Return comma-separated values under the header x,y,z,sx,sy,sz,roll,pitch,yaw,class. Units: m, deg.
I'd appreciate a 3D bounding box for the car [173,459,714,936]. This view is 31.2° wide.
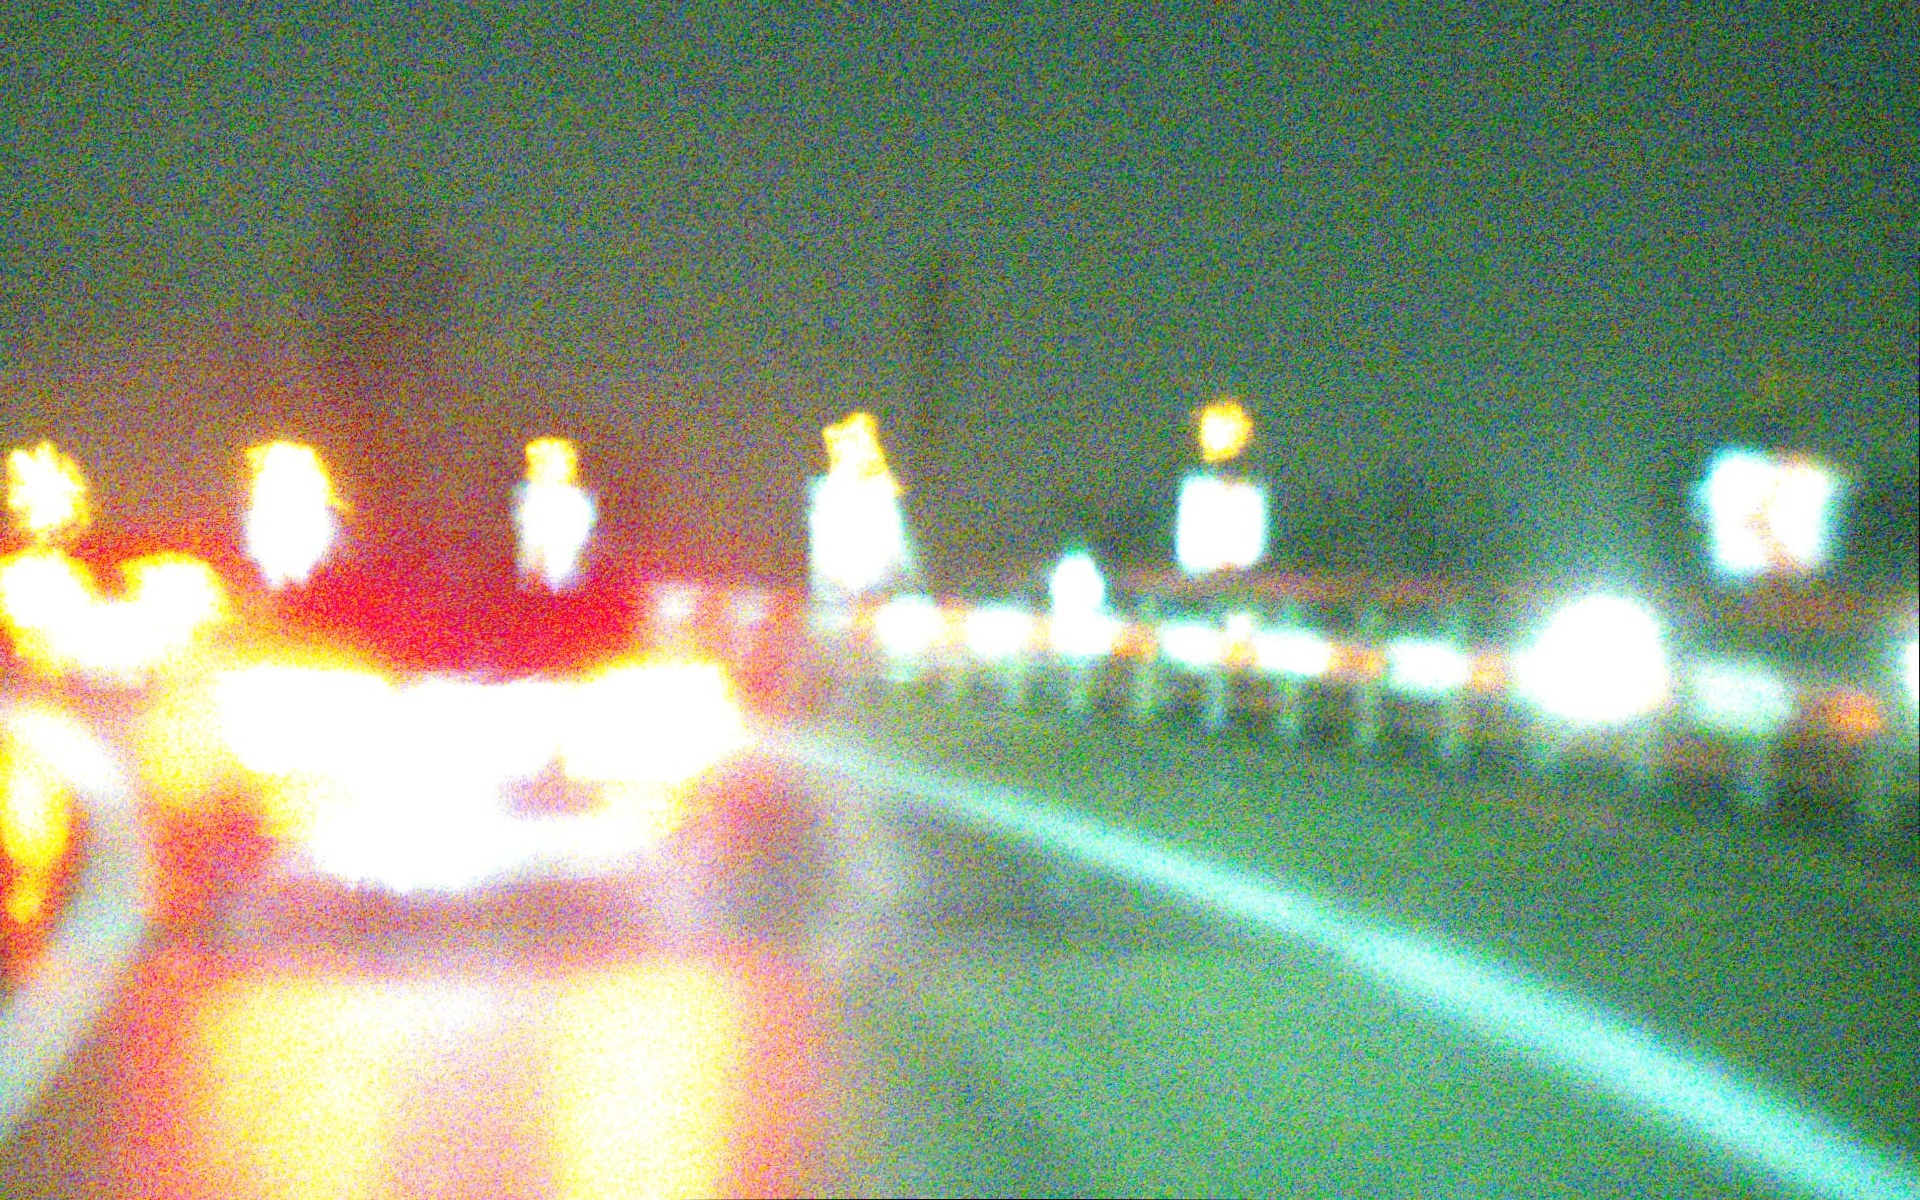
x,y,z,sx,sy,sz,roll,pitch,yaw,class
-2.156,0.299,14.089,1.860,1.641,4.070,-1,1,-10,car

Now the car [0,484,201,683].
x,y,z,sx,sy,sz,roll,pitch,yaw,class
-8.334,-0.201,31.805,1.895,1.714,4.047,-1,2,-22,car
